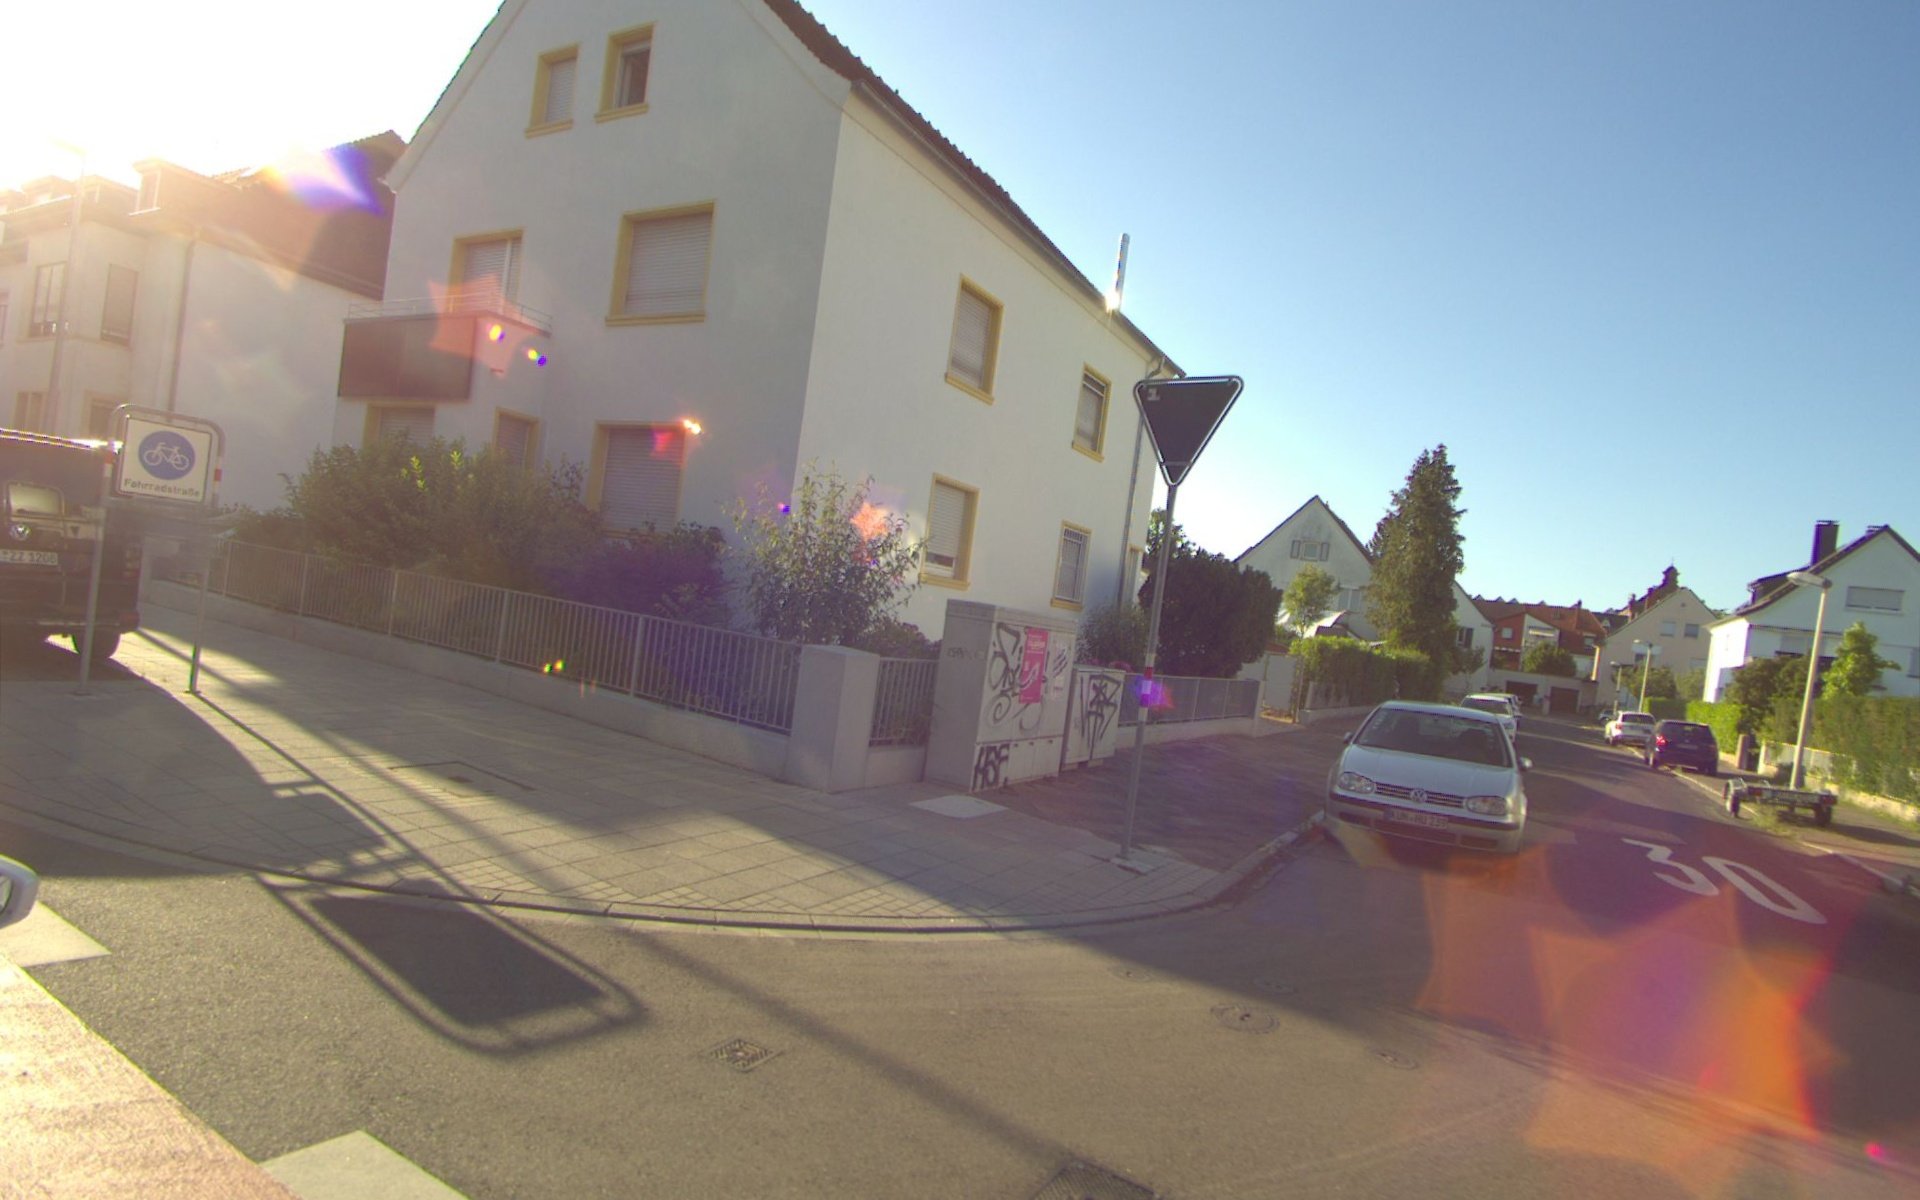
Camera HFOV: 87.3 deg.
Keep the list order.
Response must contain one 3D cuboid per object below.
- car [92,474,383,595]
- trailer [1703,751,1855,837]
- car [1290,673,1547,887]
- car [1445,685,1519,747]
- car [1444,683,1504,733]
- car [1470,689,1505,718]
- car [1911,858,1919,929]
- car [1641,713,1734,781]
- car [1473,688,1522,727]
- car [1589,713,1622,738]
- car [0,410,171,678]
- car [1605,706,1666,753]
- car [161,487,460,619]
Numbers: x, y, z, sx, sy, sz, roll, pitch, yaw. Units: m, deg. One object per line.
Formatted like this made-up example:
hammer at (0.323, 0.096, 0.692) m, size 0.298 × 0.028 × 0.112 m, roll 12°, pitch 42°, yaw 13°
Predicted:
car at (-14.209, -1.217, 20.066) m, size 1.821 × 1.747 × 4.225 m, roll 8°, pitch 0°, yaw 28°
trailer at (15.344, 3.596, 18.990) m, size 1.646 × 1.032 × 2.615 m, roll 7°, pitch 0°, yaw 28°
car at (4.882, 1.719, 10.468) m, size 1.862 × 1.486 × 4.082 m, roll 7°, pitch -2°, yaw 29°
car at (16.249, 3.593, 31.249) m, size 1.770 × 1.552 × 4.129 m, roll 7°, pitch -2°, yaw 29°
car at (19.786, 4.174, 38.636) m, size 1.770 × 1.552 × 4.129 m, roll 7°, pitch -2°, yaw 29°
car at (34.307, 6.773, 65.359) m, size 1.770 × 1.552 × 4.129 m, roll 7°, pitch -2°, yaw 29°
car at (9.256, 2.225, 7.616) m, size 1.862 × 1.708 × 4.100 m, roll 7°, pitch -2°, yaw 29°
car at (22.397, 4.465, 31.107) m, size 1.771 × 1.553 × 4.386 m, roll 7°, pitch 0°, yaw 31°
car at (26.052, 5.229, 48.690) m, size 1.771 × 1.552 × 4.390 m, roll 7°, pitch -2°, yaw 31°
car at (50.072, 9.712, 78.134) m, size 1.771 × 1.553 × 4.387 m, roll 7°, pitch 0°, yaw 30°
car at (-9.643, -0.712, 9.498) m, size 4.735 × 2.159 × 1.907 m, roll 8°, pitch 2°, yaw 33°
car at (28.814, 5.488, 43.030) m, size 1.771 × 1.553 × 4.386 m, roll 7°, pitch 0°, yaw 31°
car at (-12.043, -0.798, 18.981) m, size 1.821 × 1.745 × 4.229 m, roll 8°, pitch -2°, yaw 28°
